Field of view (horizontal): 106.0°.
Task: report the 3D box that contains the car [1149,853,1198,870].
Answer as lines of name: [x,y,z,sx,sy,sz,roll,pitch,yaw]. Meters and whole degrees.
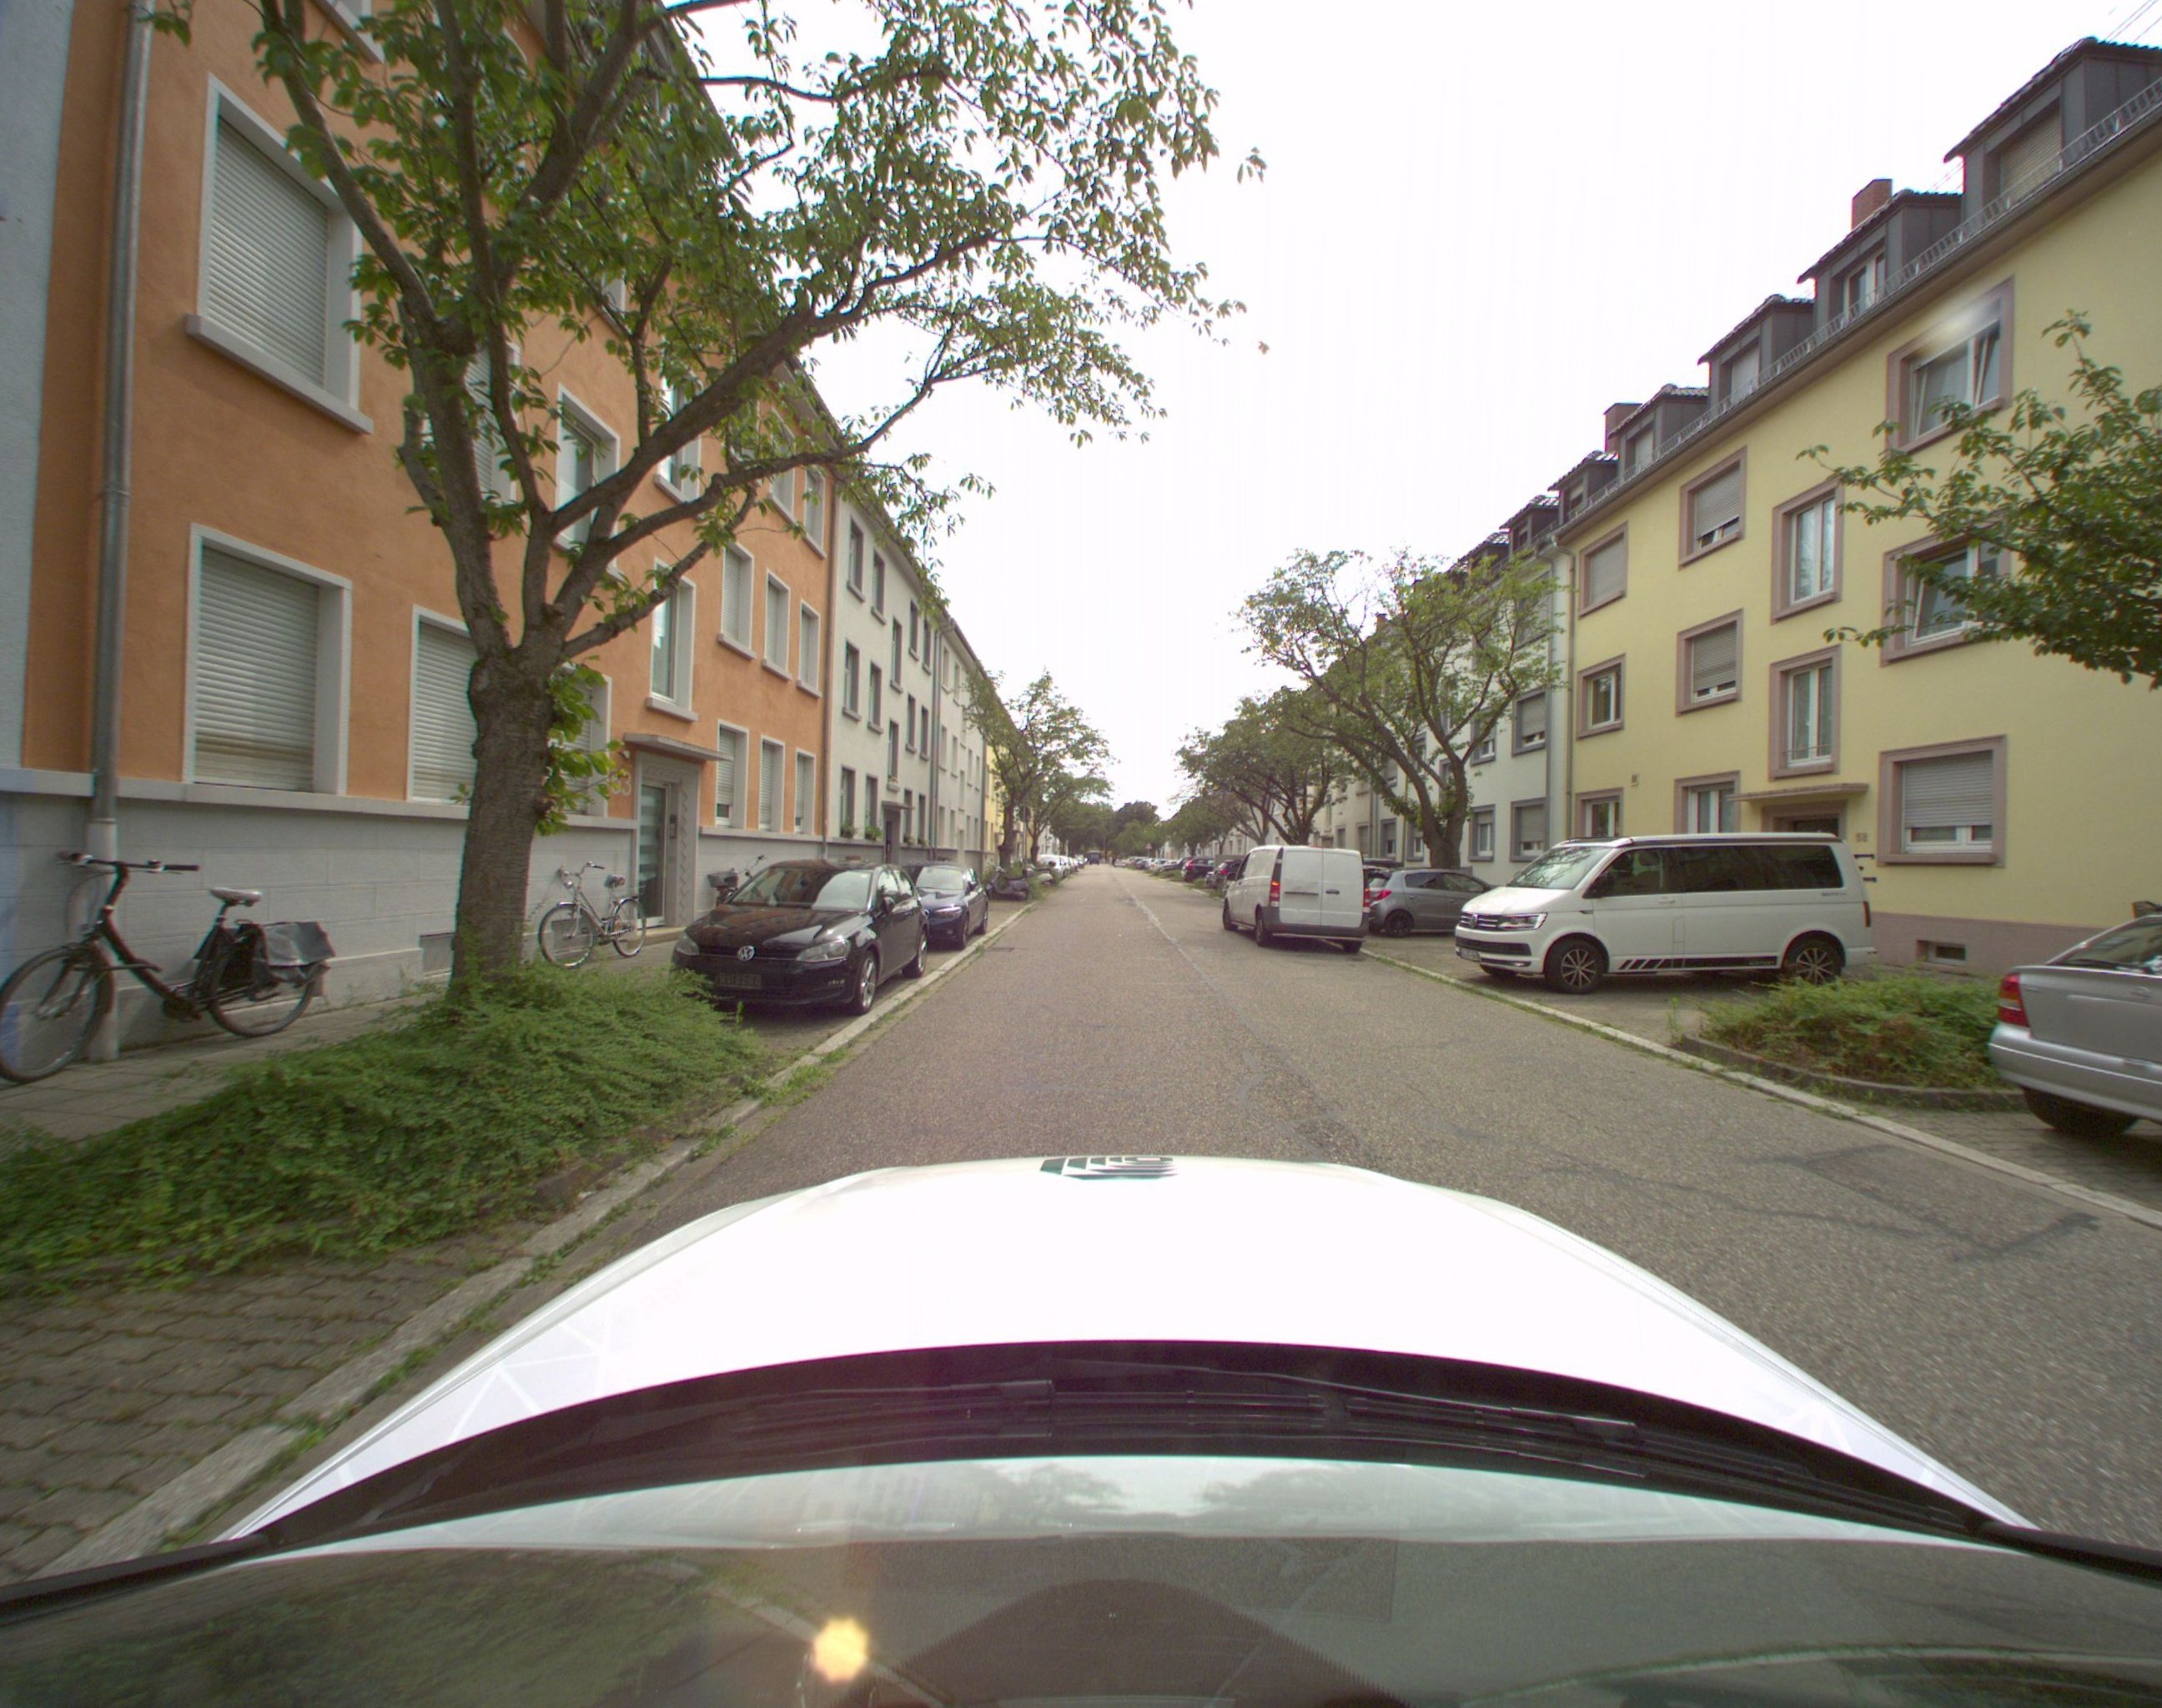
car: [8.929,0.729,79.175,4.597,1.664,1.893,-1,-1,1]

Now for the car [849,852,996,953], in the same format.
car: [-2.725,0.793,14.937,1.831,1.484,4.119,4,-1,-1]

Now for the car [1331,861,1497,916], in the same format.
car: [9.230,0.931,22.770,3.973,1.420,1.638,-1,-1,0]

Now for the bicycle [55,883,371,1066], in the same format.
bicycle: [-5.584,0.708,5.384,0.365,0.996,1.570,0,-1,1]

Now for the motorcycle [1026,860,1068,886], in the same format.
motorcycle: [-1.592,0.879,38.591,1.915,1.192,0.592,0,-1,-26]

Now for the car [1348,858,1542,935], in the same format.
car: [7.940,0.908,17.999,3.467,1.574,1.814,-1,-1,0]

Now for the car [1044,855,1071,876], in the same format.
car: [-1.811,0.896,64.408,1.911,1.581,4.383,-1,-1,2]

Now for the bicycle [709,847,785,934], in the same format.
bicycle: [-5.469,0.570,13.428,0.427,1.334,1.812,-1,-1,3]

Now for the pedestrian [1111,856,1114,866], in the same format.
pedestrian: [5.419,1.227,140.320,0.520,1.704,0.445,-1,-1,4]

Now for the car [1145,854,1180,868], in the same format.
car: [9.337,0.797,93.249,3.909,1.633,1.868,-1,-1,2]

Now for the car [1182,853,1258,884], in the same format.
car: [8.018,0.832,47.292,4.197,1.736,1.905,-1,-1,3]

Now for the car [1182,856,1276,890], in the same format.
car: [7.211,0.917,39.944,4.203,1.598,1.902,-1,-1,-2]

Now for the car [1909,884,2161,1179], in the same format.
car: [7.392,0.885,4.364,4.081,1.415,1.849,-1,-1,-1]

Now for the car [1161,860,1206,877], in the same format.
car: [8.903,1.246,70.699,3.617,1.454,1.771,-1,-1,-3]

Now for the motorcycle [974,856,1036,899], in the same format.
motorcycle: [-2.566,0.781,27.408,2.012,1.407,0.789,-1,-1,-11]

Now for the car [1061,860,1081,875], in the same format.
car: [-1.035,1.384,85.285,1.870,1.486,4.513,-1,-1,1]

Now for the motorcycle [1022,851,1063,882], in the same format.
motorcycle: [-2.162,0.705,45.762,0.944,1.676,2.444,2,-1,-42]

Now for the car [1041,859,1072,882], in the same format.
car: [-1.658,1.123,56.067,1.784,1.492,4.813,2,-1,2]

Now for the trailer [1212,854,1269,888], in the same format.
trailer: [8.805,0.948,45.083,2.947,1.831,1.402,-1,-1,4]

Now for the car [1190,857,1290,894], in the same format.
car: [7.266,0.980,37.491,4.203,1.598,1.903,-1,-1,-2]

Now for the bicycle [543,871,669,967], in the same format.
bicycle: [-5.568,0.713,9.672,0.365,1.006,1.868,-1,-1,1]

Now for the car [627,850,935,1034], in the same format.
car: [-2.904,0.768,8.952,1.831,1.484,4.091,3,-1,-1]

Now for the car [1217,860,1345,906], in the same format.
car: [6.770,0.967,27.862,3.973,1.455,1.766,-1,-1,0]

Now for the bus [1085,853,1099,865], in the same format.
bus: [2.410,1.127,180.776,2.994,2.761,8.922,-1,-1,0]

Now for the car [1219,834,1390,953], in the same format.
car: [4.185,0.692,16.148,1.988,1.915,4.702,3,-1,-1]

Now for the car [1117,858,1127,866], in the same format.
car: [7.153,1.385,140.865,1.680,1.354,3.828,-1,-1,2]

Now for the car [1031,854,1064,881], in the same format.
car: [-2.012,0.838,50.138,1.751,1.556,4.256,1,-1,1]

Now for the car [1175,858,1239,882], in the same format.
car: [8.445,1.082,54.833,3.977,1.530,1.767,-1,-1,-2]

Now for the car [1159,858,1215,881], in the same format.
car: [8.826,1.298,68.001,4.506,1.858,1.794,-1,-1,3]

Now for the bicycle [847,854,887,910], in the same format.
bicycle: [-5.273,0.672,20.138,0.427,1.334,1.812,-1,-1,3]

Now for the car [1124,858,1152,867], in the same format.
car: [10.406,1.596,148.946,4.960,1.518,1.768,-1,-1,-1]

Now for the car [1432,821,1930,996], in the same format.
car: [7.704,0.650,10.828,5.218,2.023,2.071,-1,-1,-4]

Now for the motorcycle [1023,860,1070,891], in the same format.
motorcycle: [-1.677,1.051,39.935,2.243,1.481,0.592,0,-1,-26]

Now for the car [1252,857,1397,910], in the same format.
car: [7.422,0.887,25.079,3.973,1.536,1.638,-1,-1,0]
